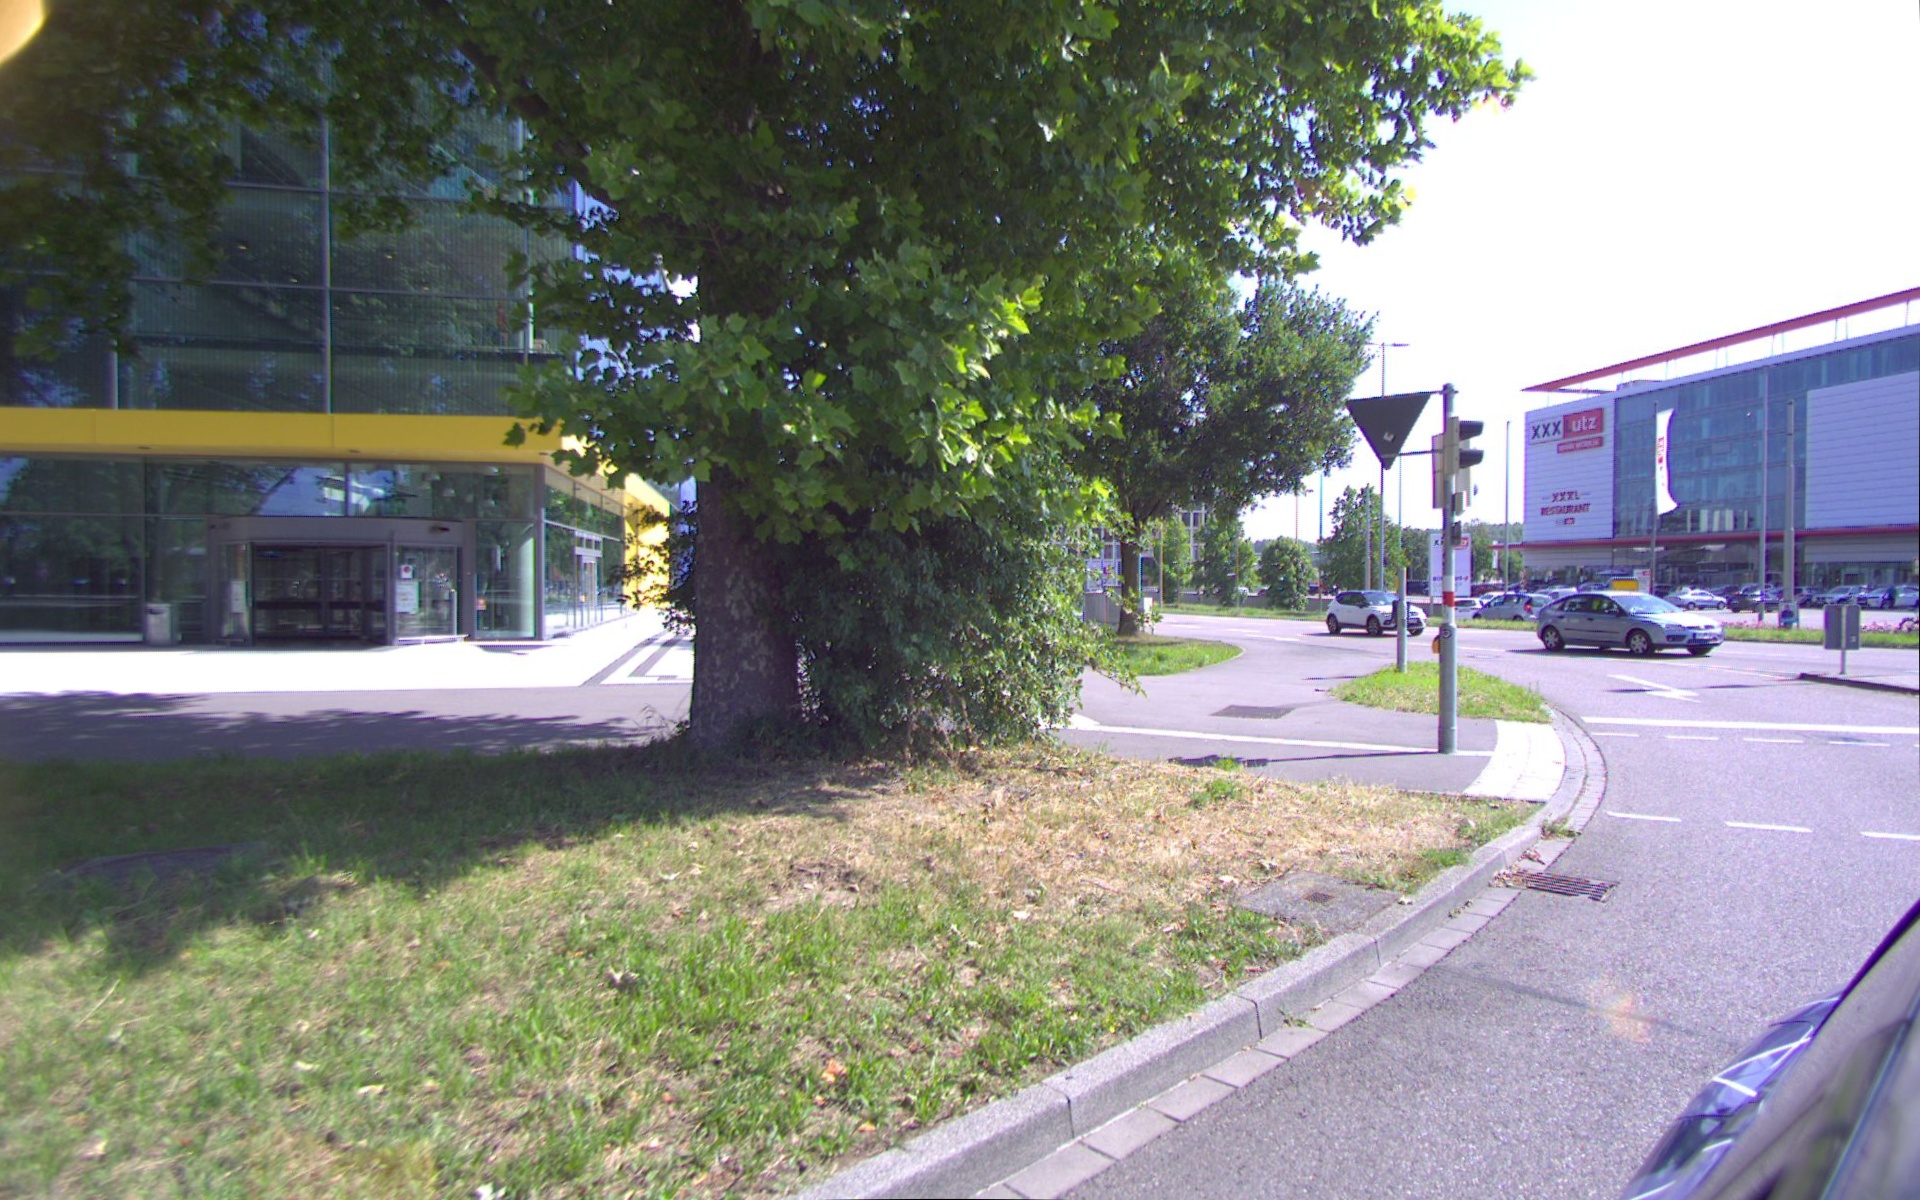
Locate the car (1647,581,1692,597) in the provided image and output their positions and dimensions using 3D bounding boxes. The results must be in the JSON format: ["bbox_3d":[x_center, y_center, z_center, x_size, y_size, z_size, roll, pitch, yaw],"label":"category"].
[{"bbox_3d":[62.642,-0.974,89.321,3.033,1.309,1.519,-1,2,-10],"label":"car"}]

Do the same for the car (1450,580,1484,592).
[{"bbox_3d":[58.014,-1.598,115.868,3.158,1.346,1.519,-1,2,-10],"label":"car"}]

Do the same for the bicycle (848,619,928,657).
[{"bbox_3d":[-1.671,0.870,23.387,1.797,0.854,0.434,0,0,-7],"label":"bicycle"}]

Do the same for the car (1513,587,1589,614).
[{"bbox_3d":[41.233,0.011,70.677,4.335,1.865,1.949,0,1,-10],"label":"car"}]

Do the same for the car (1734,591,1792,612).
[{"bbox_3d":[55.522,0.114,69.970,3.033,1.346,1.519,-1,2,-10],"label":"car"}]

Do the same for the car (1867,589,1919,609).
[{"bbox_3d":[66.710,-0.090,71.594,4.225,1.346,1.519,-1,2,-10],"label":"car"}]

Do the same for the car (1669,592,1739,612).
[{"bbox_3d":[54.963,0.117,74.739,4.410,1.346,1.519,-1,2,-10],"label":"car"}]

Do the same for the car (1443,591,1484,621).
[{"bbox_3d":[28.519,0.294,57.400,1.779,1.566,4.056,0,1,23],"label":"car"}]

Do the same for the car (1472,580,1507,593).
[{"bbox_3d":[59.293,-1.546,113.320,3.158,1.346,1.519,-1,2,-10],"label":"car"}]

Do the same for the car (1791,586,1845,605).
[{"bbox_3d":[64.987,-0.373,76.709,3.033,1.346,1.519,-1,2,-10],"label":"car"}]

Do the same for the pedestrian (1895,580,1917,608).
[{"bbox_3d":[64.824,-0.419,69.331,0.838,1.881,0.753,1,0,-9],"label":"pedestrian"}]

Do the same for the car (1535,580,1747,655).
[{"bbox_3d":[15.994,0.355,24.066,1.676,1.593,4.182,-1,1,-11],"label":"car"}]

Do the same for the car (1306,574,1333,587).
[{"bbox_3d":[45.787,-2.450,128.835,2.718,1.576,1.777,0,0,-10],"label":"car"}]

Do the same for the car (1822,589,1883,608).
[{"bbox_3d":[65.376,-0.091,74.149,3.344,1.346,1.592,0,0,-12],"label":"car"}]

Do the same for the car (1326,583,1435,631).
[{"bbox_3d":[14.371,0.276,34.818,1.603,1.517,3.874,-1,-1,-9],"label":"car"}]

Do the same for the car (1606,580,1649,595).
[{"bbox_3d":[61.840,-1.178,93.774,3.033,1.346,1.519,-1,2,-10],"label":"car"}]

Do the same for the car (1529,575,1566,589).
[{"bbox_3d":[60.782,-1.844,104.664,3.033,1.346,1.519,-1,2,-10],"label":"car"}]

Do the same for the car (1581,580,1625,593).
[{"bbox_3d":[61.407,-1.308,96.722,3.437,1.213,1.483,-1,2,-10],"label":"car"}]

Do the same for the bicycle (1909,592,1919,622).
[{"bbox_3d":[33.533,0.266,34.620,0.324,1.035,1.647,1,2,-13],"label":"bicycle"}]

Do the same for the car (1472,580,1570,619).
[{"bbox_3d":[24.317,-0.007,44.017,1.599,1.645,3.922,0,-1,-9],"label":"car"}]

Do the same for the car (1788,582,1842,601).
[{"bbox_3d":[64.970,-0.673,76.950,3.033,1.346,1.519,-1,2,-10],"label":"car"}]

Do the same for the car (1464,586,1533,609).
[{"bbox_3d":[40.297,-0.217,75.702,4.335,1.647,1.875,0,1,-11],"label":"car"}]

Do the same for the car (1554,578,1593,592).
[{"bbox_3d":[61.582,-1.552,101.610,3.033,1.346,1.707,-1,2,-10],"label":"car"}]

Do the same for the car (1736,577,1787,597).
[{"bbox_3d":[69.486,-1.110,87.761,3.497,1.651,1.666,-1,0,-14],"label":"car"}]
